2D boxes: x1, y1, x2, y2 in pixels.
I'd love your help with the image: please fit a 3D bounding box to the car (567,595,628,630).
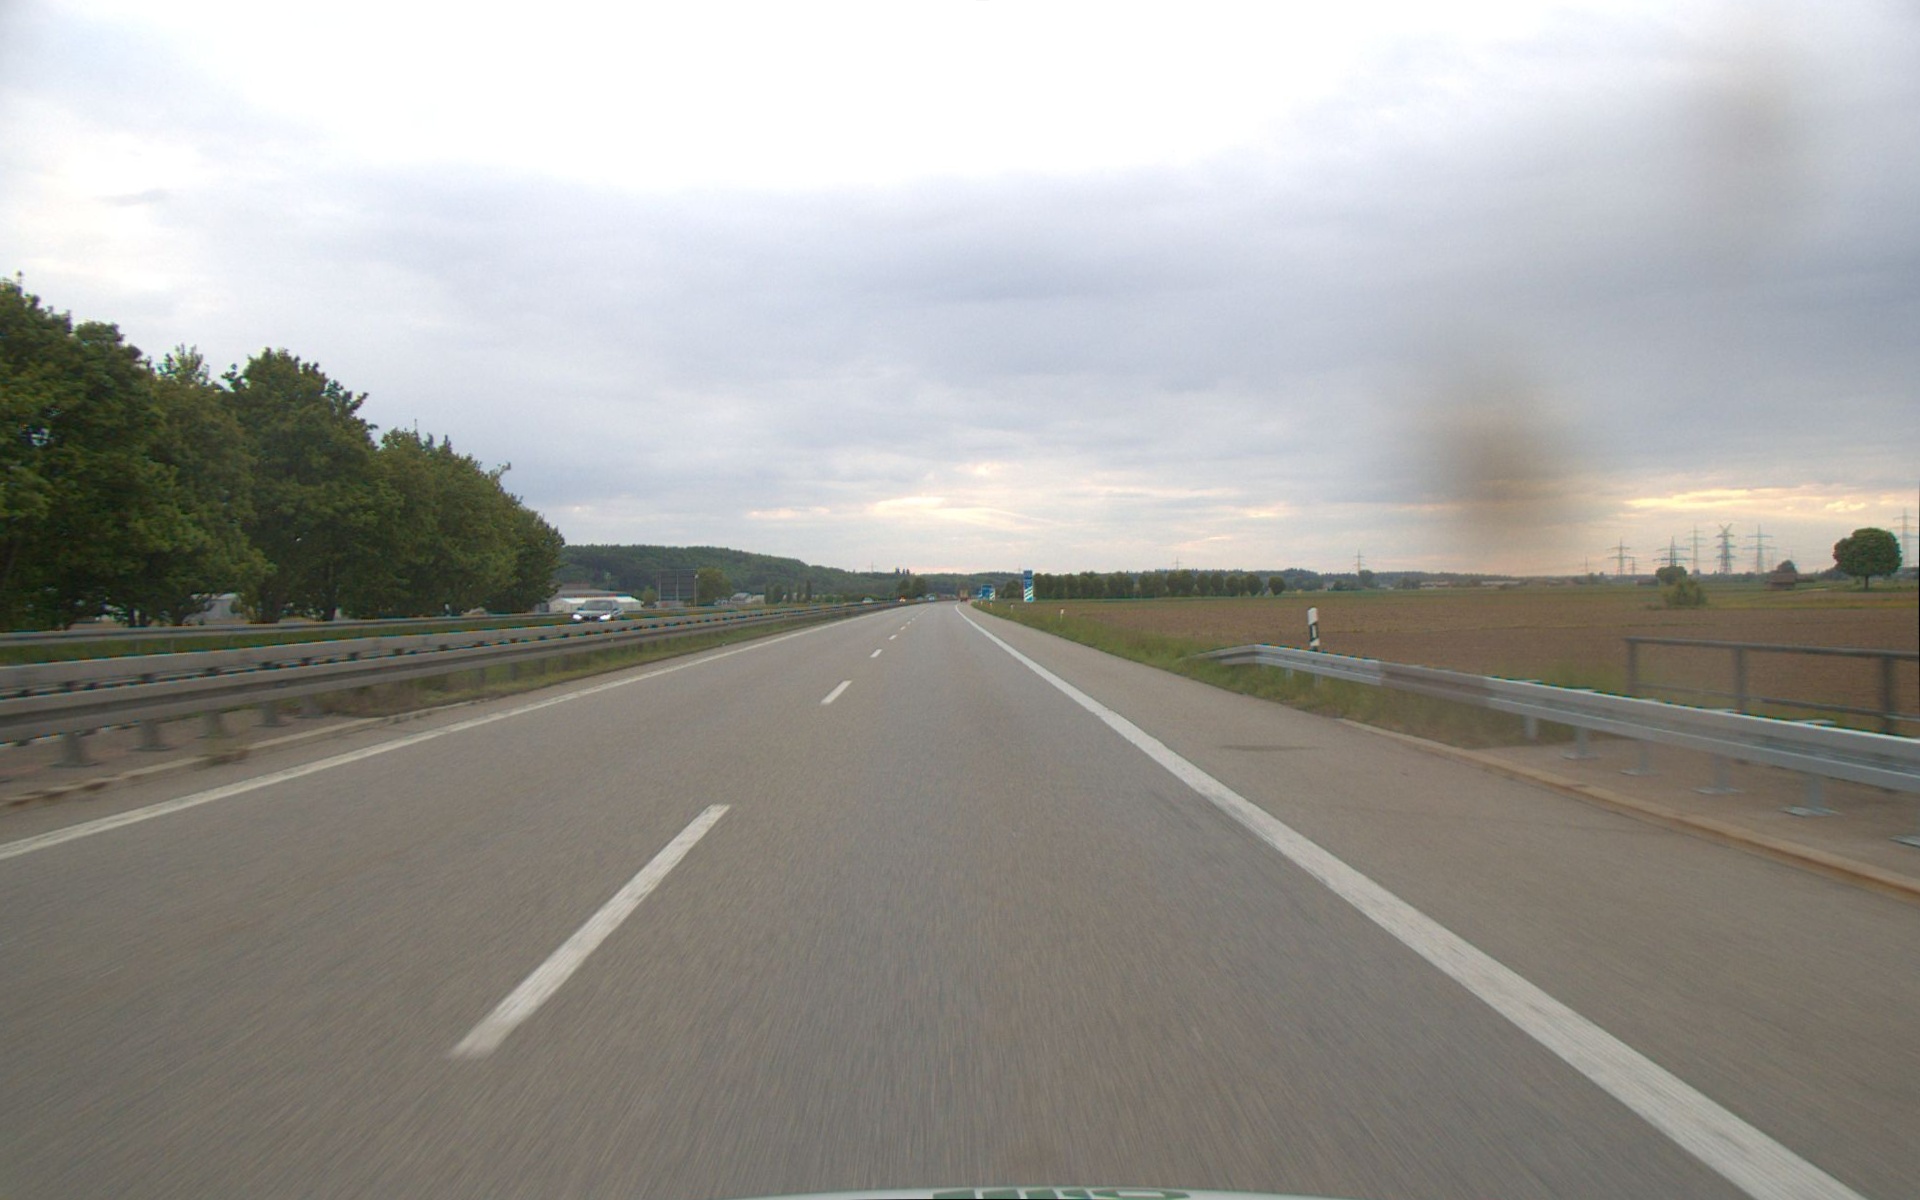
[{"bbox_3d":[-17.524,0.596,80.200,1.953,1.610,4.808,1,0,-1],"label":"car"}]
